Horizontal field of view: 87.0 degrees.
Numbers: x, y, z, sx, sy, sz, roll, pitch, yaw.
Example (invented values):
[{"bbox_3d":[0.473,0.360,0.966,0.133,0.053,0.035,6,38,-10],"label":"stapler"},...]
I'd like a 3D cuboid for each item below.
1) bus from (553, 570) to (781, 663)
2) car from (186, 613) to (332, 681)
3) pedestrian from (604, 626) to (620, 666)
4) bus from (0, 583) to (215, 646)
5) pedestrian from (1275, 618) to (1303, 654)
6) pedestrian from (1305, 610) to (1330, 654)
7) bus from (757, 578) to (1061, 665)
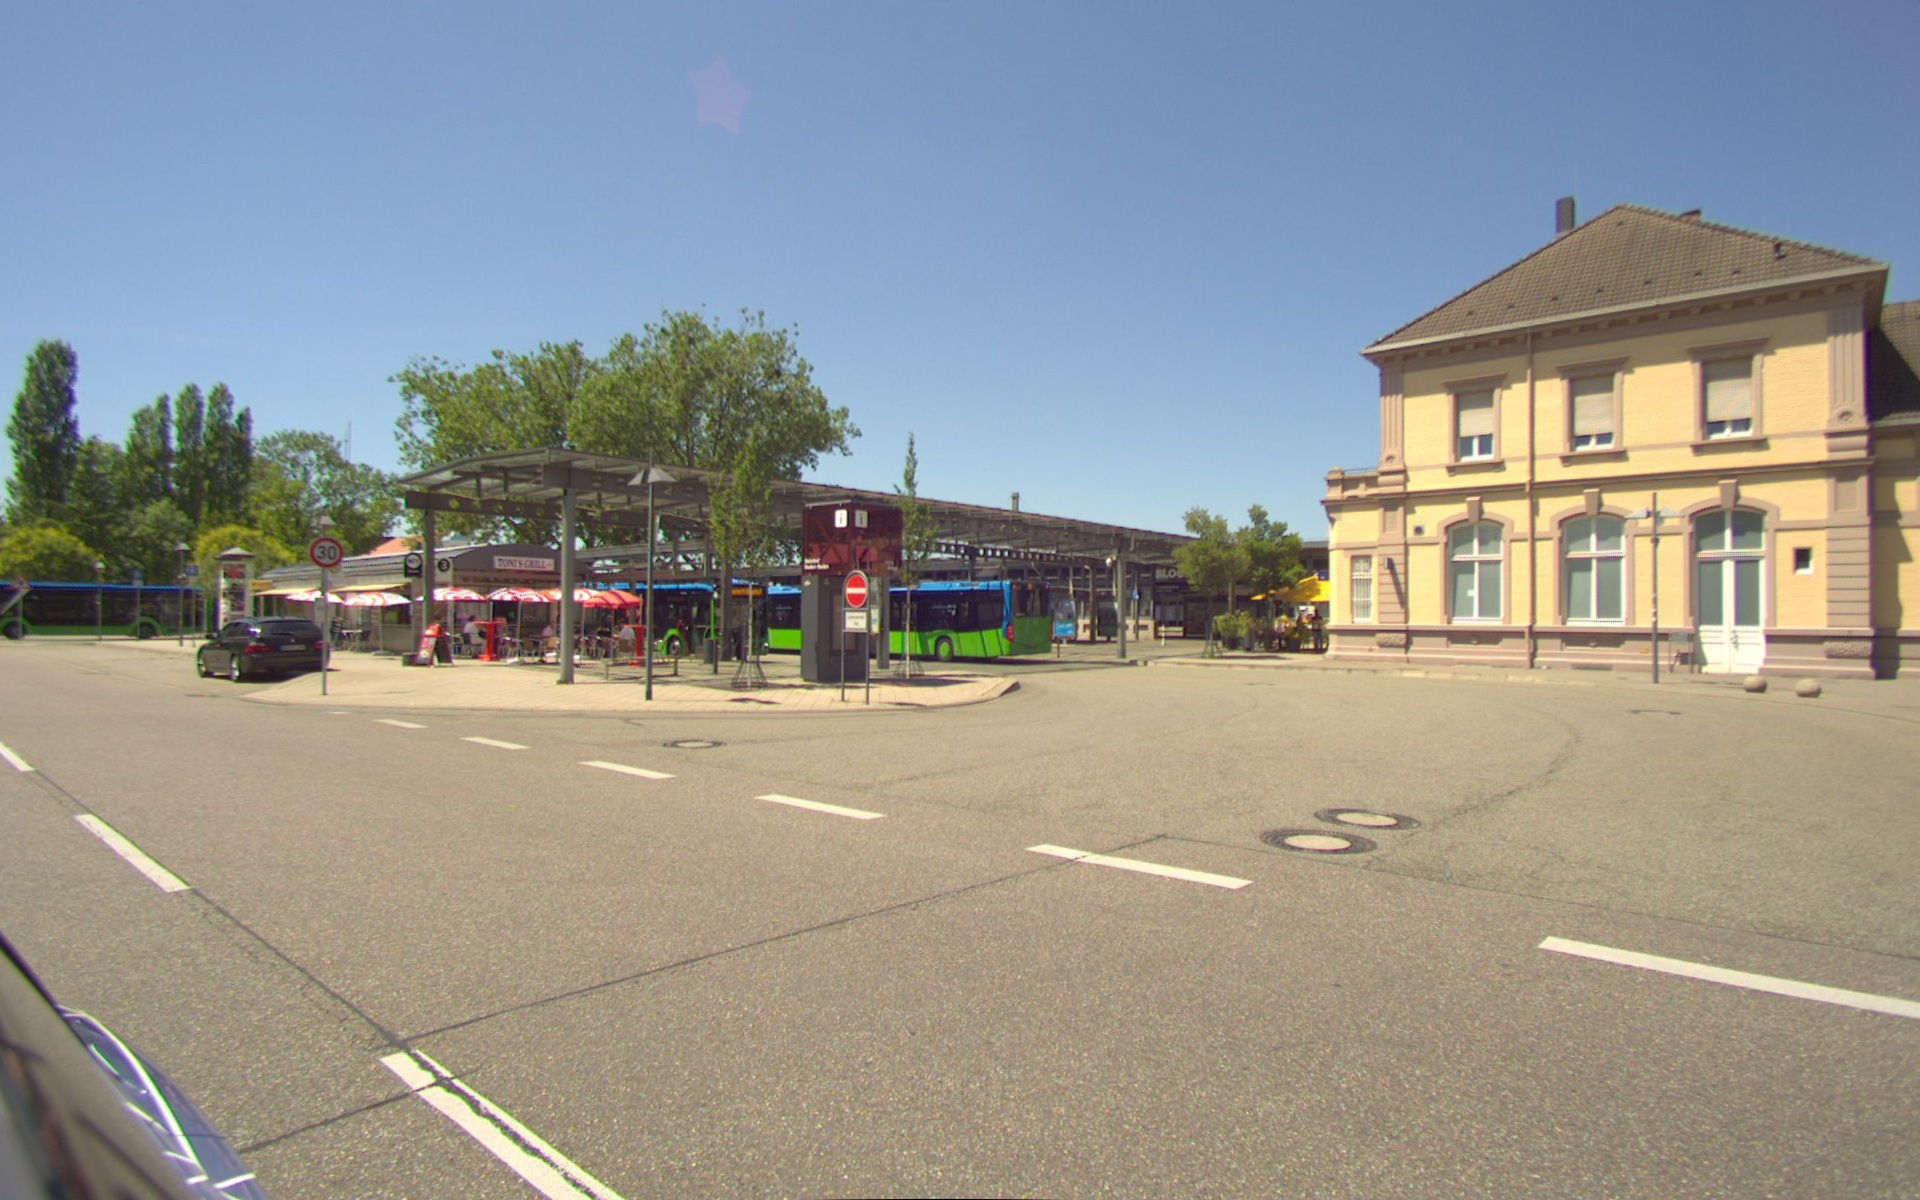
[{"bbox_3d":[-12.046,0.691,40.482,11.843,3.258,2.934,-1,-2,42],"label":"bus"},{"bbox_3d":[-17.075,1.083,24.568,4.782,1.489,1.701,0,-2,40],"label":"car"},{"bbox_3d":[-10.009,1.319,29.111,0.365,1.131,0.427,2,-1,-15],"label":"pedestrian"},{"bbox_3d":[-52.348,0.864,60.772,12.037,3.553,2.171,1,-1,-43],"label":"bus"},{"bbox_3d":[13.705,1.486,42.144,0.957,1.488,0.890,-1,-2,32],"label":"pedestrian"},{"bbox_3d":[14.152,1.278,40.071,0.777,1.698,0.659,-2,-3,34],"label":"pedestrian"},{"bbox_3d":[-2.781,0.907,42.252,15.520,3.060,2.835,-1,-2,44],"label":"bus"}]
